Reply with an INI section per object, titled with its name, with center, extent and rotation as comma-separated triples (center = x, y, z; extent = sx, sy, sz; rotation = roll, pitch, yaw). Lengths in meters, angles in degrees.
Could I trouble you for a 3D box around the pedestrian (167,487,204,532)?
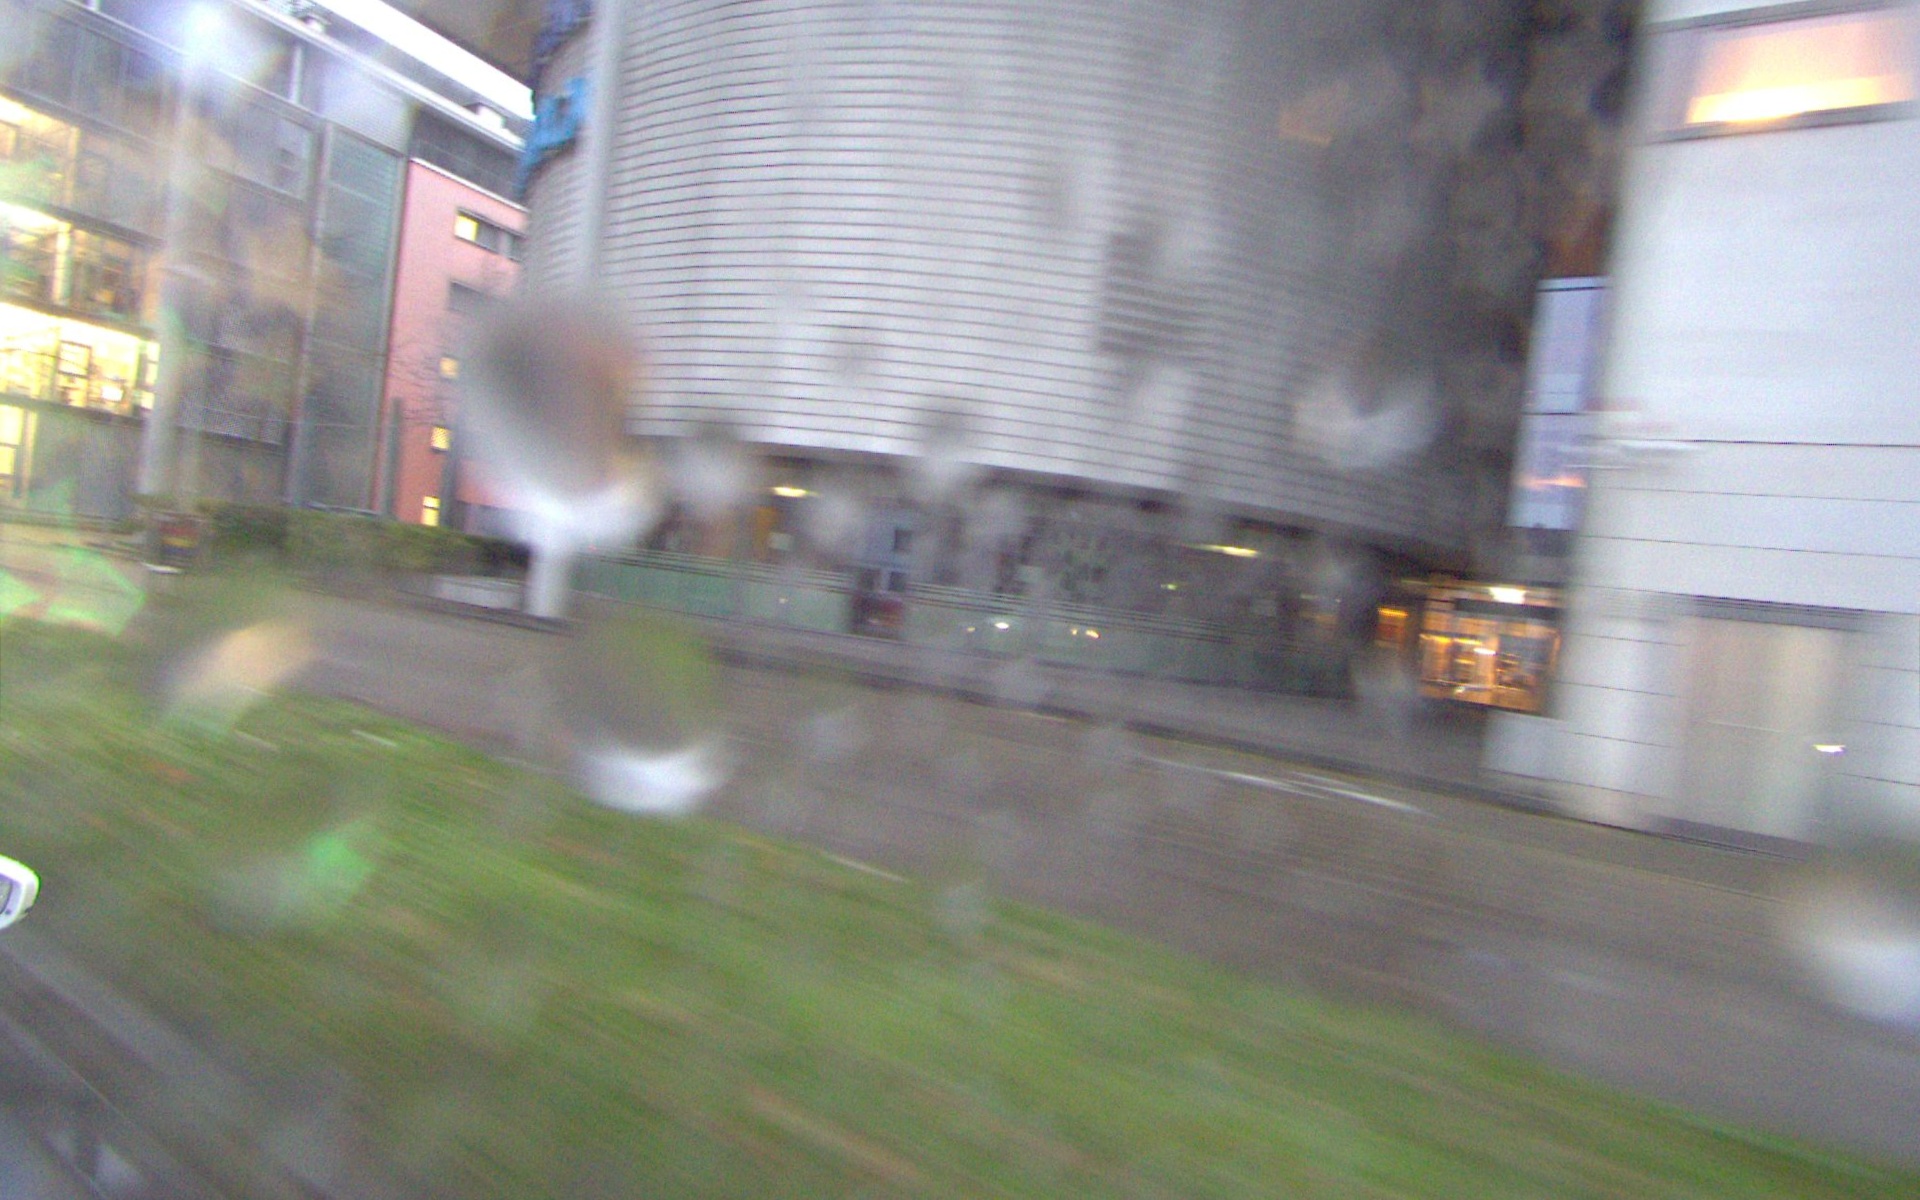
[pedestrian]
center = -31.209, -3.646, 40.555
extent = 0.714, 1.673, 0.809
rotation = 7, -1, 32
